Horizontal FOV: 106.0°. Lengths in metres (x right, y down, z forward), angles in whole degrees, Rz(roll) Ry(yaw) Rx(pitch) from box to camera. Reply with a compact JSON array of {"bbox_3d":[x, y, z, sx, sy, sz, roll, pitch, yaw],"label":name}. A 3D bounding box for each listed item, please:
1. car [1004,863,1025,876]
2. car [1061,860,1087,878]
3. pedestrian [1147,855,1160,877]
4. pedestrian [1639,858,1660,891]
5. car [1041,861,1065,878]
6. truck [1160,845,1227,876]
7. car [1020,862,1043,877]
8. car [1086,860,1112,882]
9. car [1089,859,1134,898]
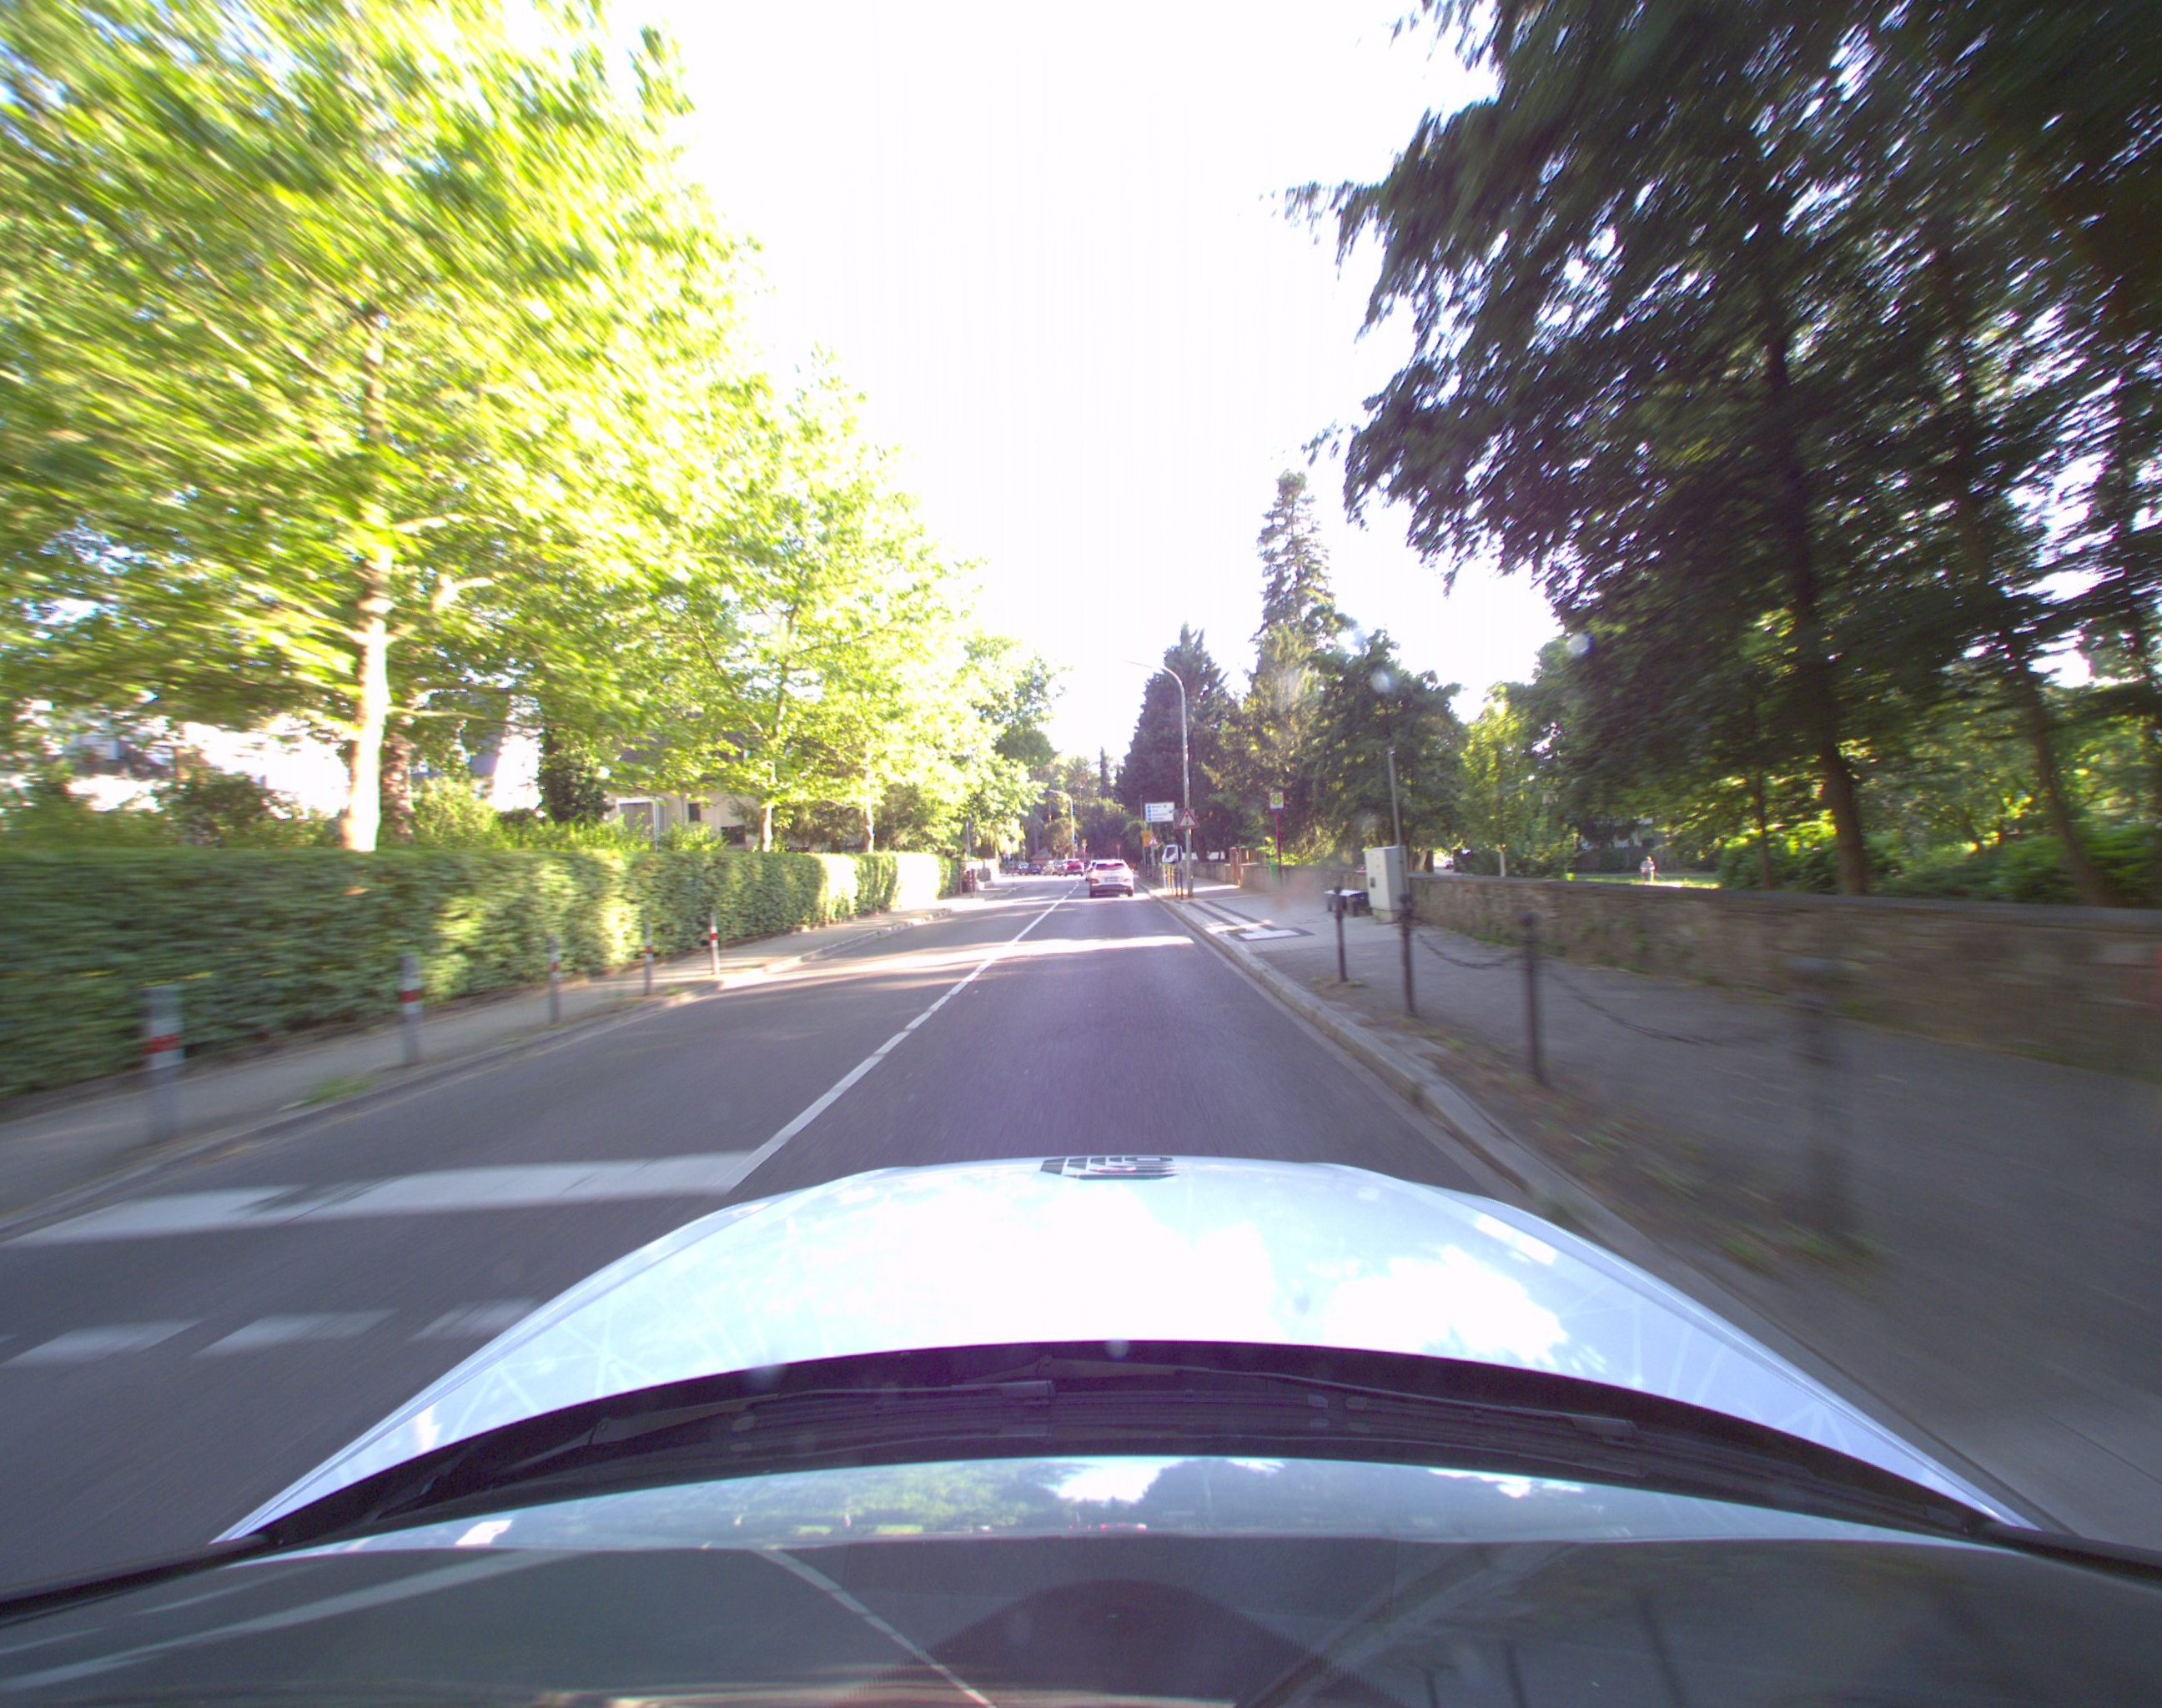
[{"bbox_3d":[-8.565,1.972,104.310,1.836,1.662,3.977,-1,-1,-17],"label":"car"},{"bbox_3d":[-0.686,1.399,76.721,1.831,1.662,3.987,-1,-1,-9],"label":"car"},{"bbox_3d":[5.996,1.007,67.451,0.947,1.826,0.548,0,1,-37],"label":"pedestrian"},{"bbox_3d":[28.543,1.022,40.899,0.612,1.641,0.637,0,-1,3],"label":"pedestrian"},{"bbox_3d":[-2.888,1.620,84.489,1.833,1.741,3.983,-1,-1,-12],"label":"car"},{"bbox_3d":[11.303,0.658,81.901,6.553,2.895,2.437,-1,-1,6],"label":"truck"},{"bbox_3d":[-5.648,1.784,93.132,1.835,1.662,3.978,0,-1,-16],"label":"car"},{"bbox_3d":[1.318,1.216,58.876,1.799,1.537,4.000,-1,-1,1],"label":"car"},{"bbox_3d":[1.293,1.017,35.080,1.814,1.574,4.000,0,-1,1],"label":"car"}]
